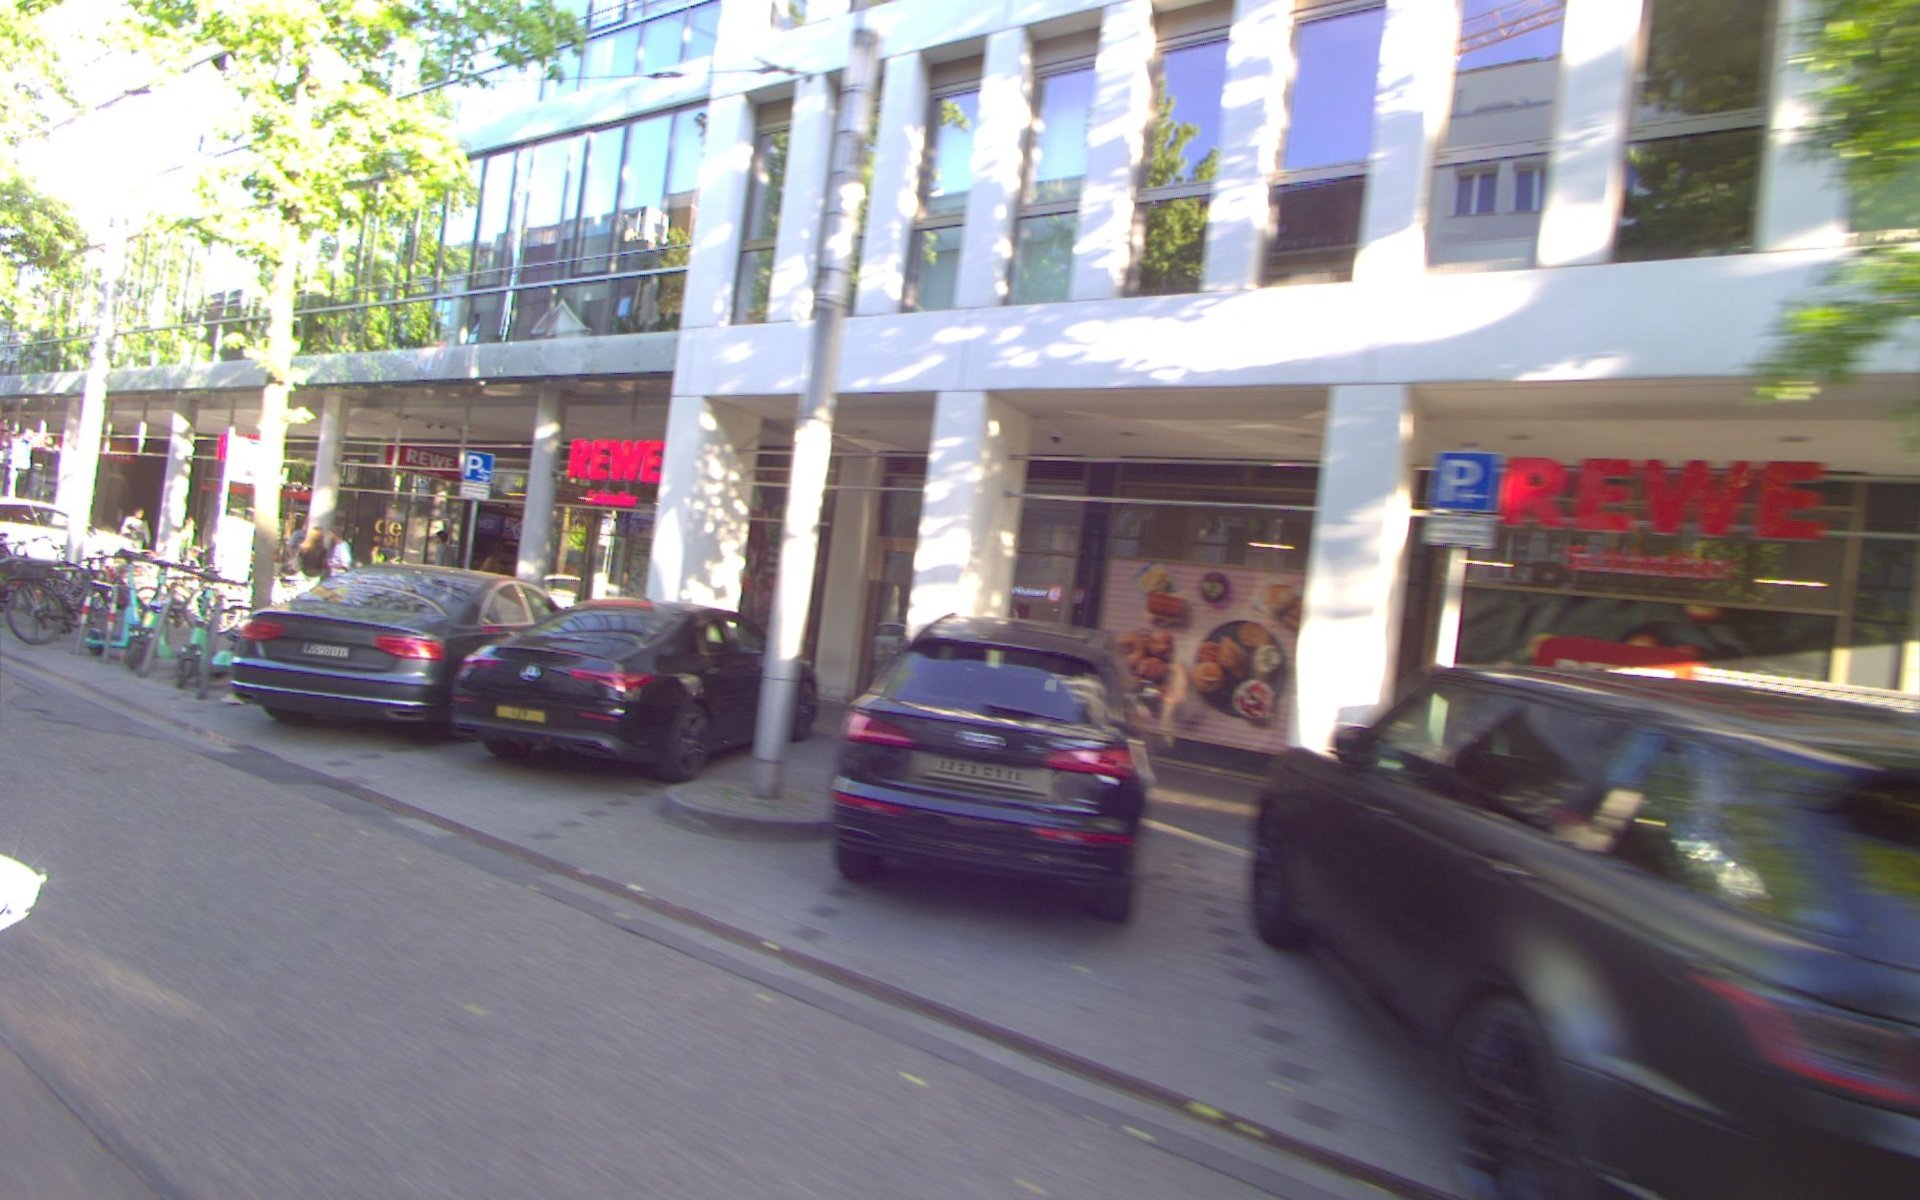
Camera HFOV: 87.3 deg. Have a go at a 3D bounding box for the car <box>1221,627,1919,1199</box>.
[{"bbox_3d":[2.633,1.153,4.156,1.957,1.785,4.667,6,0,3],"label":"car"}]

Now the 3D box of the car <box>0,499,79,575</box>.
[{"bbox_3d":[-21.138,-1.448,20.842,1.656,1.518,4.160,6,0,9],"label":"car"}]

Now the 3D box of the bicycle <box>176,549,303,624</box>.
[{"bbox_3d":[-11.862,-0.211,16.639,0.620,1.120,1.778,6,1,7],"label":"bicycle"}]

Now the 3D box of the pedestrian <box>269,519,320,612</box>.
[{"bbox_3d":[-13.157,-0.673,19.882,0.516,1.773,0.557,7,2,32],"label":"pedestrian"}]

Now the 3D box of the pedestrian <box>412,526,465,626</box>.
[{"bbox_3d":[-10.593,-0.477,20.429,0.653,1.943,0.583,7,2,34],"label":"pedestrian"}]

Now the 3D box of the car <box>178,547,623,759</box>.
[{"bbox_3d":[-5.255,0.384,10.470,1.941,1.488,5.056,6,1,-3],"label":"car"}]

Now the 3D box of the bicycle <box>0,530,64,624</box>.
[{"bbox_3d":[-12.665,-0.316,13.330,0.474,1.179,1.687,5,1,-18],"label":"bicycle"}]

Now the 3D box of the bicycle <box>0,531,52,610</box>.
[{"bbox_3d":[-14.253,-0.451,14.392,0.655,1.134,1.896,6,1,3],"label":"bicycle"}]

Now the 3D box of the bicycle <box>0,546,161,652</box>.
[{"bbox_3d":[-10.791,-0.031,12.191,0.853,1.102,1.562,7,2,2],"label":"bicycle"}]

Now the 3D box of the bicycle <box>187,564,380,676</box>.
[{"bbox_3d":[-8.056,0.234,12.020,1.816,1.122,0.551,6,2,-4],"label":"bicycle"}]

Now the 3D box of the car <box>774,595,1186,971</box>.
[{"bbox_3d":[0.406,0.949,7.491,1.970,1.676,4.668,7,0,8],"label":"car"}]

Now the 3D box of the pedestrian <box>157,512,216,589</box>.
[{"bbox_3d":[-17.744,-1.137,23.082,0.868,1.644,0.714,7,1,33],"label":"pedestrian"}]

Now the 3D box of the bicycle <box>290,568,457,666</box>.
[{"bbox_3d":[-8.165,0.227,14.056,1.855,1.145,0.626,6,2,-5],"label":"bicycle"}]

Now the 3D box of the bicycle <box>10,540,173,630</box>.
[{"bbox_3d":[-11.969,-0.198,13.937,0.620,1.120,1.694,6,1,6],"label":"bicycle"}]

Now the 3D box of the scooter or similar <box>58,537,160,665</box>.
[{"bbox_3d":[-9.547,-0.002,11.280,1.285,1.293,0.451,7,3,31],"label":"scooter or similar"}]

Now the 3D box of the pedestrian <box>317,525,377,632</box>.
[{"bbox_3d":[-10.385,-0.358,17.037,0.542,1.716,0.517,7,-1,37],"label":"pedestrian"}]

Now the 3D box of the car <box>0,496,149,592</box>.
[{"bbox_3d":[-17.313,-1.054,18.201,1.820,1.591,4.157,7,0,-1],"label":"car"}]

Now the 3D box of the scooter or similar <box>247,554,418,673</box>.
[{"bbox_3d":[-7.947,0.168,12.796,1.650,1.310,0.631,6,2,-5],"label":"scooter or similar"}]

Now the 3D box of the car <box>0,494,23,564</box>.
[{"bbox_3d":[-23.534,-1.776,22.064,1.849,1.607,4.248,6,0,1],"label":"car"}]

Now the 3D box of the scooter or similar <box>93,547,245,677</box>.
[{"bbox_3d":[-8.613,0.107,11.012,0.554,1.293,1.305,5,2,1],"label":"scooter or similar"}]

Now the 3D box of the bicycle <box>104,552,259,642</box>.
[{"bbox_3d":[-10.715,-0.054,13.929,0.719,1.089,1.673,7,2,2],"label":"bicycle"}]

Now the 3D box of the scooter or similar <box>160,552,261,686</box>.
[{"bbox_3d":[-7.903,0.170,10.654,0.452,1.293,1.300,4,2,-21],"label":"scooter or similar"}]

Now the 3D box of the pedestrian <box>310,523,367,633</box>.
[{"bbox_3d":[-10.449,-0.361,16.917,0.550,1.773,0.523,7,2,34],"label":"pedestrian"}]

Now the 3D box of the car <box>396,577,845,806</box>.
[{"bbox_3d":[-2.792,0.703,9.649,1.897,1.444,4.668,6,0,11],"label":"car"}]

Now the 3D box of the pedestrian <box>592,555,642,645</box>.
[{"bbox_3d":[-7.132,0.000,20.920,0.617,1.765,0.597,7,1,41],"label":"pedestrian"}]

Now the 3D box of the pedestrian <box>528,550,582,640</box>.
[{"bbox_3d":[-8.333,-0.105,20.703,0.616,1.765,0.598,7,1,30],"label":"pedestrian"}]

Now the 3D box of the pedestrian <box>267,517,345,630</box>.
[{"bbox_3d":[-10.568,-0.413,16.272,0.540,1.716,0.681,7,-1,20],"label":"pedestrian"}]

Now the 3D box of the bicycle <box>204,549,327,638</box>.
[{"bbox_3d":[-10.494,-0.099,15.254,0.852,1.188,1.269,7,2,1],"label":"bicycle"}]

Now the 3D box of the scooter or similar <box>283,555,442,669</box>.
[{"bbox_3d":[-7.949,0.157,13.419,1.650,1.310,0.562,6,2,-5],"label":"scooter or similar"}]

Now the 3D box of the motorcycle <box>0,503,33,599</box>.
[{"bbox_3d":[-15.470,-0.799,15.307,0.845,1.529,2.314,5,1,-11],"label":"motorcycle"}]
